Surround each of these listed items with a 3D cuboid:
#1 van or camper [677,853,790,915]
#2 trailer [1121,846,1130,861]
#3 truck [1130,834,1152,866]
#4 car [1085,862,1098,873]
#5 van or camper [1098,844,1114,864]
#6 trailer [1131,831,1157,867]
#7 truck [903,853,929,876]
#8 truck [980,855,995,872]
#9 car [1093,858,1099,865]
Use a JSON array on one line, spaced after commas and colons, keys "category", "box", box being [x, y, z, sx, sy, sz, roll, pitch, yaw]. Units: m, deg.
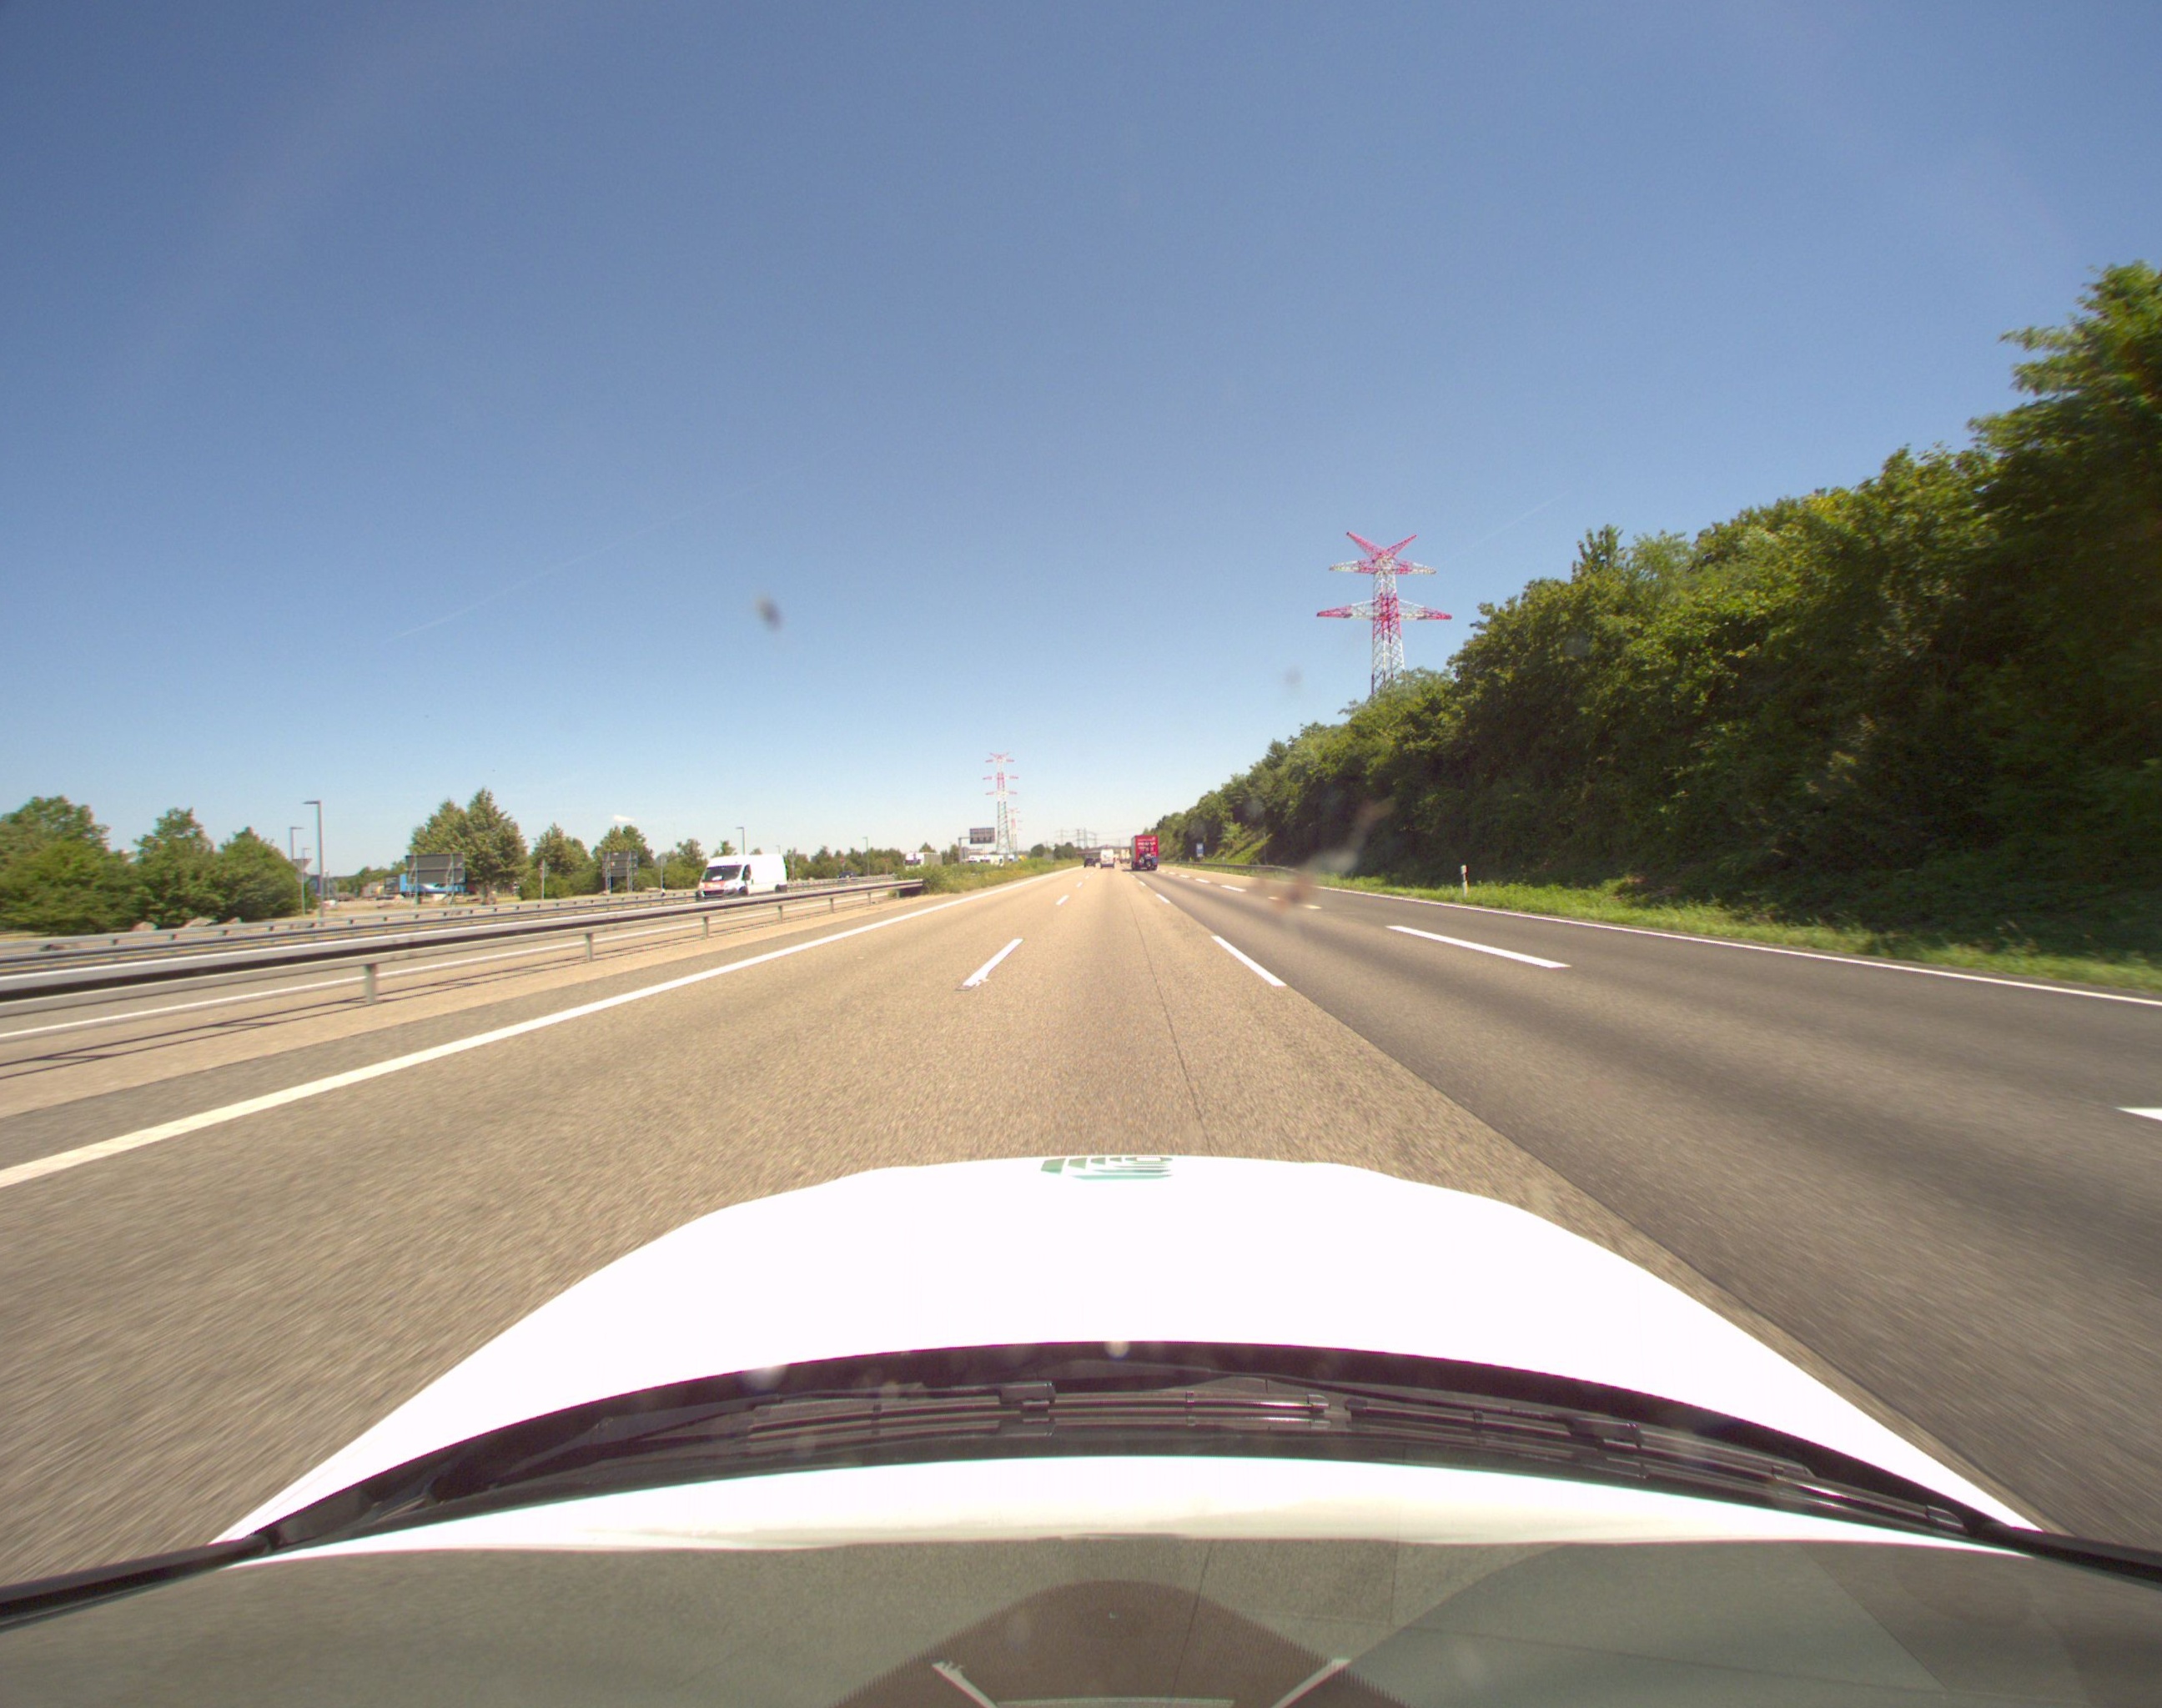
[{"category": "van or camper", "box": [-16.699, 1.367, 39.615, 2.409, 2.582, 6.369, -5, -1, 2]}, {"category": "trailer", "box": [12.264, -0.134, 223.806, 2.626, 4.060, 12.376, 0, -1, 3]}, {"category": "truck", "box": [7.603, -0.473, 103.628, 2.489, 3.920, 7.100, -1, -1, 2]}, {"category": "car", "box": [1.867, 2.350, 143.305, 1.973, 1.817, 3.817, -1, -1, 4]}, {"category": "van or camper", "box": [3.700, 0.043, 120.168, 2.221, 2.782, 5.426, 0, -1, 2]}, {"category": "trailer", "box": [7.367, -0.528, 96.799, 2.481, 3.909, 14.252, -1, -1, 2]}, {"category": "truck", "box": [-27.135, 1.666, 133.873, 2.788, 3.643, 6.149, 0, -1, 2]}, {"category": "truck", "box": [-23.011, 2.276, 200.661, 2.571, 4.188, 7.939, -1, -1, 2]}, {"category": "car", "box": [4.634, 2.355, 254.291, 1.964, 2.012, 4.199, 0, -1, 2]}]
